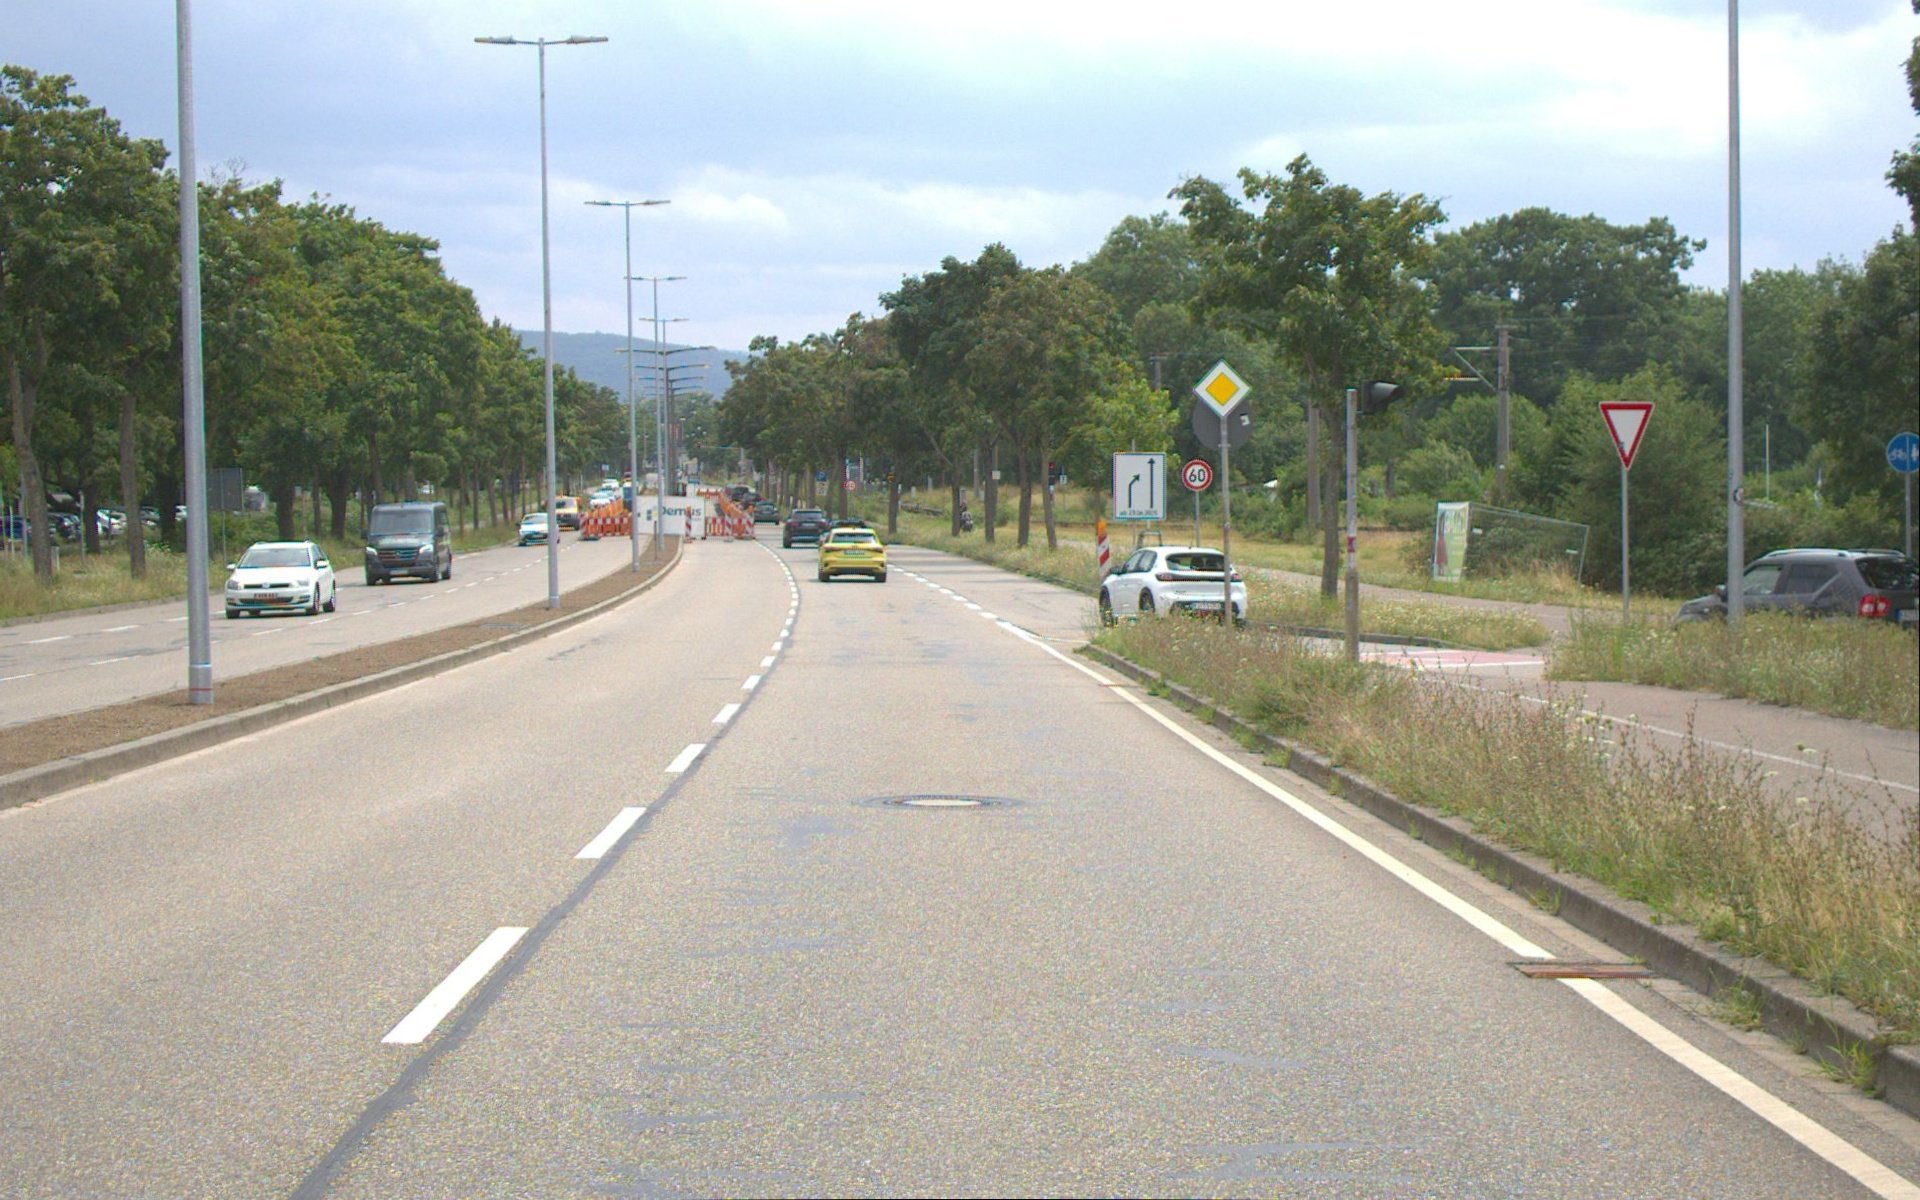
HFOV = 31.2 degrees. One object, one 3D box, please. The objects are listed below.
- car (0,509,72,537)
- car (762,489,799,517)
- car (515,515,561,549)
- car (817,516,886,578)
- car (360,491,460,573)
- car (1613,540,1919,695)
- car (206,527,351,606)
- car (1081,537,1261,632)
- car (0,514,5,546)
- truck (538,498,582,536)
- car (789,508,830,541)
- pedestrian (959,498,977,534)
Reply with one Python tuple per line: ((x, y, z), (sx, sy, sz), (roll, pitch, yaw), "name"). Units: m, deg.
((-48.463, -4.016, 179.248), (3.772, 1.421, 1.966), (0, 2, -1), "car")
((-11.274, -6.097, 216.010), (2.206, 1.678, 4.001), (0, 2, -1), "car")
((-19.324, -3.122, 157.489), (1.716, 1.415, 4.161), (-2, 2, -2), "car")
((-2.953, -1.443, 92.835), (1.793, 1.556, 4.001), (0, 2, -2), "car")
((-15.611, -1.957, 97.814), (2.095, 2.193, 6.005), (-2, 2, -3), "car")
((9.882, 0.159, 40.973), (1.704, 1.662, 3.999), (-1, 2, -37), "car")
((-13.583, -0.704, 68.757), (1.993, 1.426, 4.689), (-1, 2, -1), "car")
((3.570, -0.295, 58.911), (1.766, 1.459, 4.002), (-1, 2, -18), "car")
((-47.102, -3.280, 162.084), (3.649, 1.514, 1.883), (0, 2, -1), "car")
((-22.787, -4.740, 196.010), (2.088, 1.987, 6.040), (-2, 2, -3), "truck")
((-6.238, -3.126, 142.150), (1.667, 1.265, 4.001), (0, 2, -2), "car")
((0.388, -3.895, 159.209), (0.690, 1.689, 0.934), (-1, 2, -8), "pedestrian")
